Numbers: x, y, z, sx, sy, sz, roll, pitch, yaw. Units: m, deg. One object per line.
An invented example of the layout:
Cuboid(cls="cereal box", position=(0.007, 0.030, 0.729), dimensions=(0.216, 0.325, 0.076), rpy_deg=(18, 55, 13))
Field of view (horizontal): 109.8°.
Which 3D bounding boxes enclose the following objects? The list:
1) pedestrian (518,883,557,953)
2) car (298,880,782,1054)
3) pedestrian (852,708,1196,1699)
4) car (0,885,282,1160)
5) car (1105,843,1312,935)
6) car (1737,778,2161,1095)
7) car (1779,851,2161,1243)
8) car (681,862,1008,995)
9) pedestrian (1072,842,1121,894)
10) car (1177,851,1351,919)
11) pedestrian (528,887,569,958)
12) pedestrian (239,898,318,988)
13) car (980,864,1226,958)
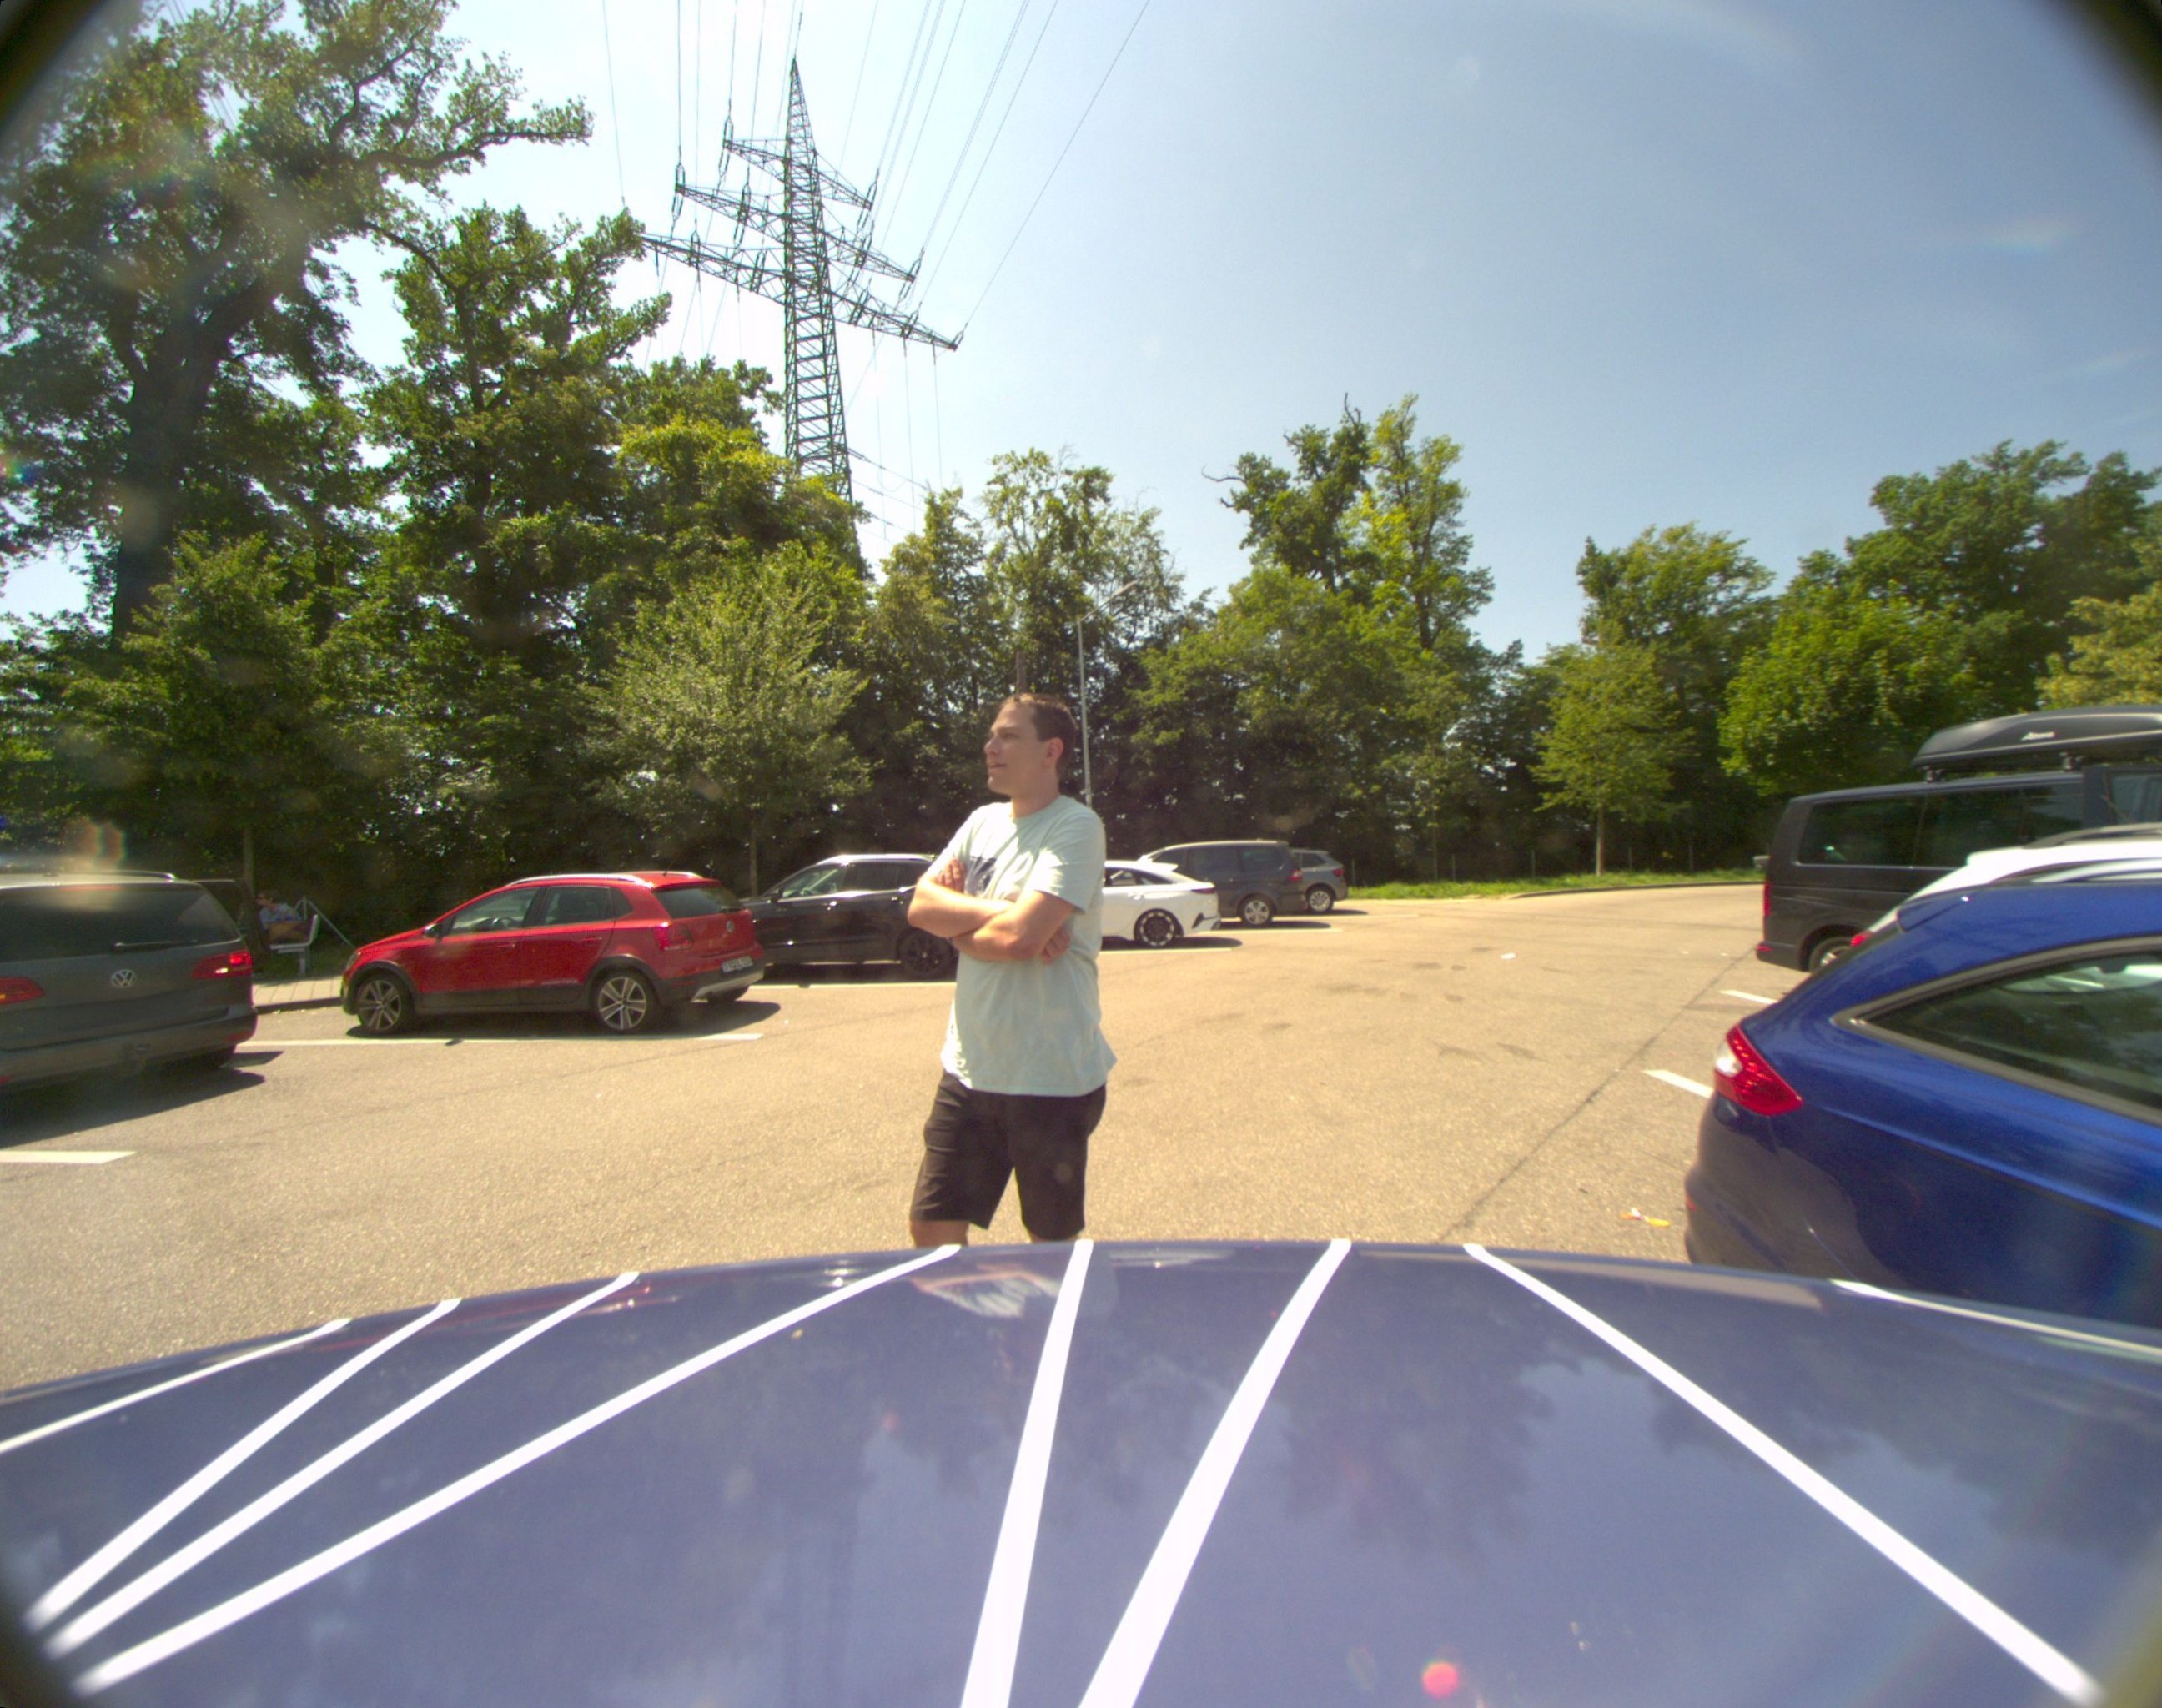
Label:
Cuboid(cls="pedestrian", position=(-10.964, 1.274, 15.322), dimensions=(0.490, 1.367, 0.506), rpy_deg=(-2, 0, 41))
Cuboid(cls="car", position=(-5.251, 1.059, 7.646), dimensions=(3.804, 1.449, 1.637), rpy_deg=(-1, 1, 7))
Cuboid(cls="pedestrian", position=(-0.199, 0.653, 1.874), dimensions=(0.634, 1.857, 0.747), rpy_deg=(-2, 0, -17))
Cuboid(cls="car", position=(-8.352, 1.089, 5.430), dimensions=(3.950, 1.581, 1.753), rpy_deg=(-1, 1, 11))
Cuboid(cls="car", position=(2.499, 0.676, 15.474), dimensions=(3.882, 1.680, 1.882), rpy_deg=(-1, 0, 5))
Cuboid(cls="car", position=(7.297, 0.454, 5.007), dimensions=(2.048, 1.850, 4.430), rpy_deg=(-2, -1, -1))
Cuboid(cls="car", position=(4.770, 0.699, 2.411), dimensions=(1.607, 1.405, 3.743), rpy_deg=(-2, -1, -1))
Cuboid(cls="car", position=(-3.017, 0.933, 10.274), dimensions=(3.806, 1.538, 1.759), rpy_deg=(-1, 1, 2))
Cuboid(cls="pedestrian", position=(0.406, 0.364, 19.596), dimensions=(0.889, 1.292, 0.865), rpy_deg=(-2, 0, 31))
Cuboid(cls="car", position=(4.247, 0.704, 18.118), dimensions=(3.805, 1.468, 1.743), rpy_deg=(-1, 1, 5))
Cuboid(cls="pedestrian", position=(-10.179, 1.291, 14.516), dimensions=(0.490, 1.291, 0.506), rpy_deg=(-2, 0, 41))
Cuboid(cls="pedestrian", position=(-11.727, 1.285, 11.106), dimensions=(0.680, 1.211, 0.675), rpy_deg=(-4, -2, 36))
Cuboid(cls="car", position=(0.397, 0.903, 12.723), dimensions=(3.805, 1.359, 1.803), rpy_deg=(-1, 1, 5))
